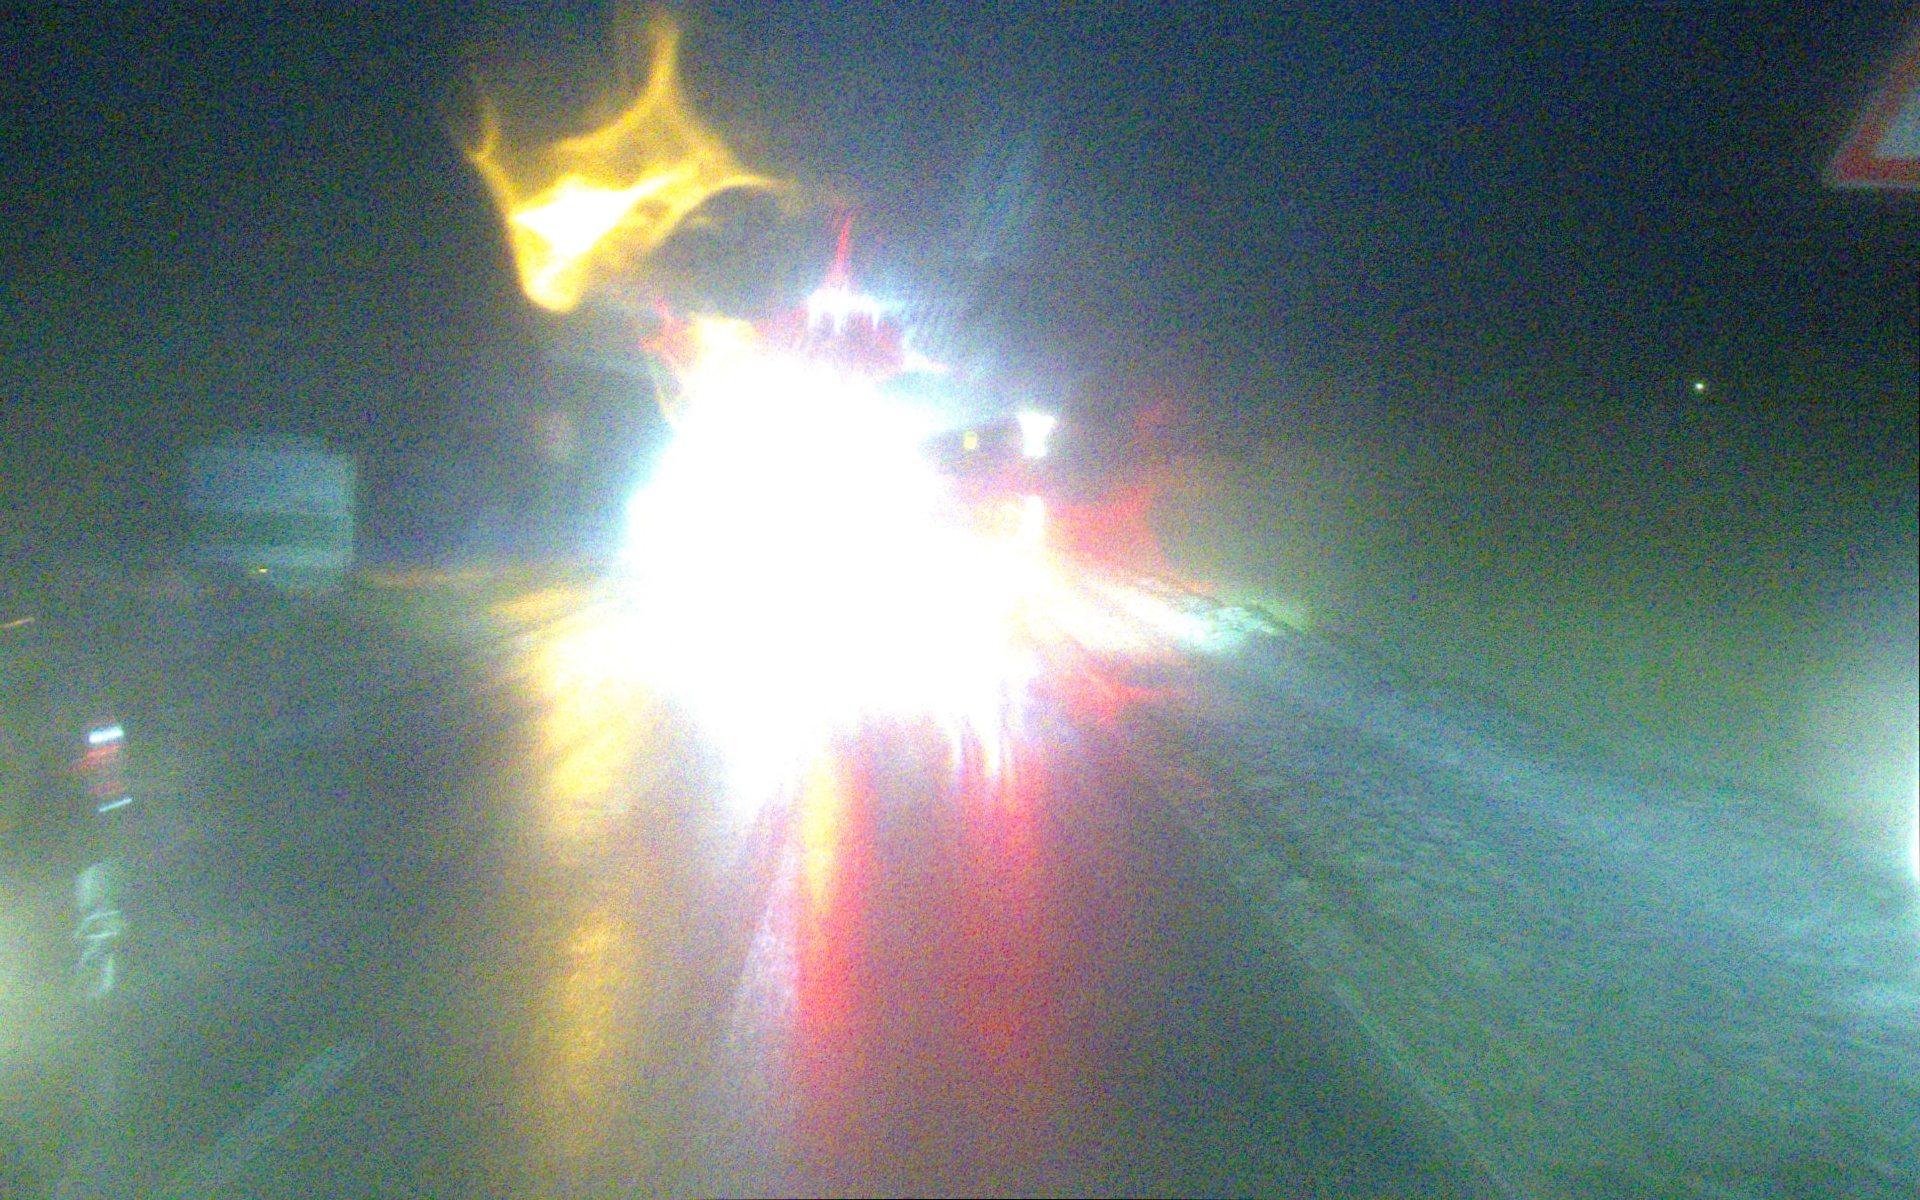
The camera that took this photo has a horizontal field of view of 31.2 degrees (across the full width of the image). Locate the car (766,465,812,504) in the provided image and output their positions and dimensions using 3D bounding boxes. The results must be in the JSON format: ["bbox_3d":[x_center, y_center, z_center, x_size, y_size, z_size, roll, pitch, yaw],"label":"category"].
[{"bbox_3d":[-6.809,-4.582,136.857,1.731,1.513,4.016,1,1,-2],"label":"car"}]

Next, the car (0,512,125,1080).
[{"bbox_3d":[-3.411,0.500,8.536,1.801,1.504,3.615,2,1,-1],"label":"car"}]

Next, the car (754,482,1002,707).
[{"bbox_3d":[-0.634,-0.068,27.588,1.801,1.623,3.615,2,1,-1],"label":"car"}]
